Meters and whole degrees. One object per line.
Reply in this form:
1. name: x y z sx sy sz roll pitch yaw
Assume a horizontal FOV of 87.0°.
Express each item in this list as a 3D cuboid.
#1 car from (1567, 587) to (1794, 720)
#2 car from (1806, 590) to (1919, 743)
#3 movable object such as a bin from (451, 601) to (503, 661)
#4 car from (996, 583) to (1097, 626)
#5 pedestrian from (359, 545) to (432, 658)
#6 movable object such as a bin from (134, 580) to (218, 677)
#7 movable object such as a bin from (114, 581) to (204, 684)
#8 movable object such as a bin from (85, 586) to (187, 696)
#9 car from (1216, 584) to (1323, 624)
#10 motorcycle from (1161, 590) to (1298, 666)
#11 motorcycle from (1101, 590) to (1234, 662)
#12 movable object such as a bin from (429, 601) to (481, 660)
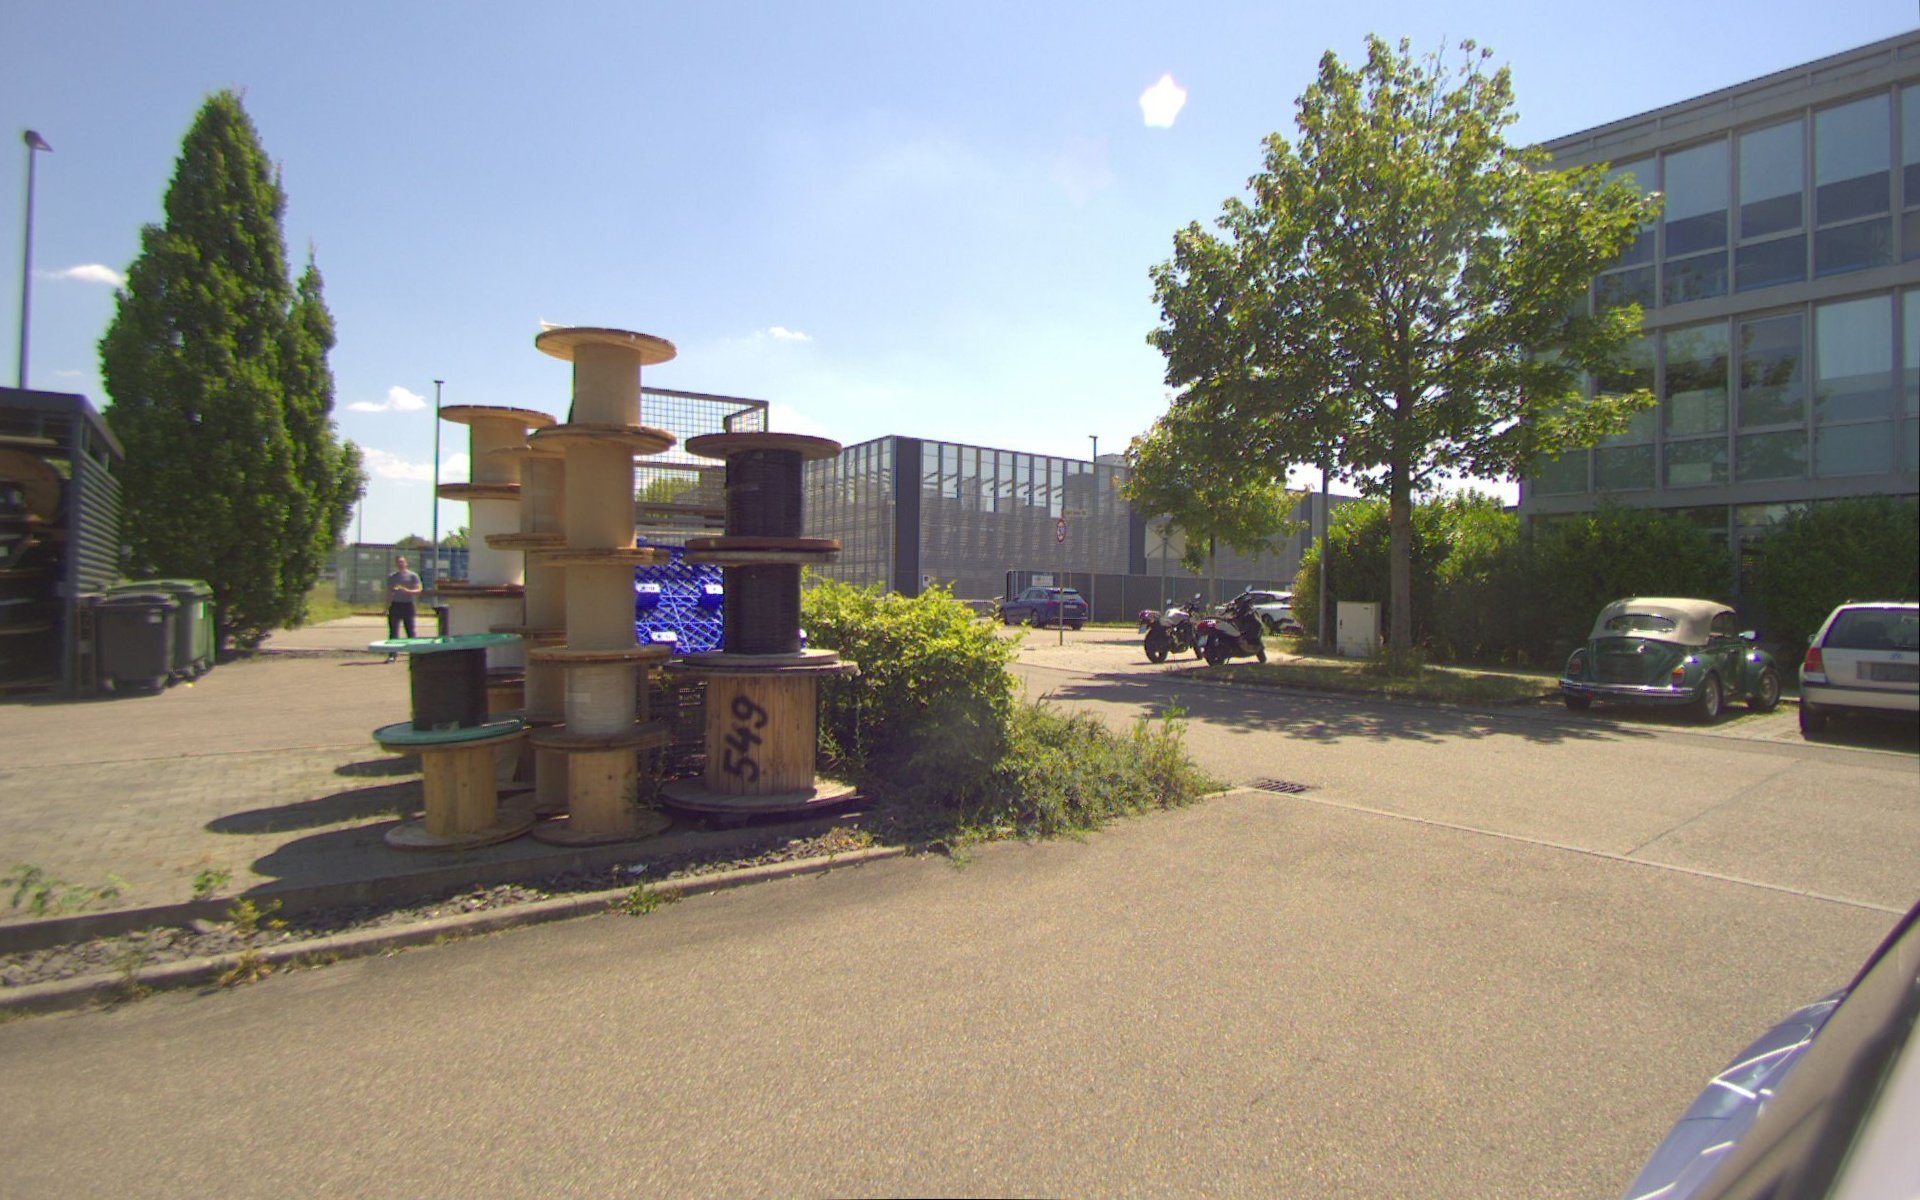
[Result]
1. car: 9.330 0.582 13.035 3.358 1.463 1.522 -1 2 -39
2. car: 10.793 0.660 11.269 3.539 1.470 1.640 -1 2 -43
3. movable object such as a bin: -7.847 0.490 16.453 0.581 0.929 0.542 1 1 30
4. car: 3.027 0.132 36.424 1.820 1.427 4.455 0 1 -22
5. pedestrian: -9.214 0.016 16.536 0.793 1.791 0.770 1 1 -5
6. movable object such as a bin: -10.989 0.375 14.217 0.785 1.314 0.811 0 1 -27
7. movable object such as a bin: -10.611 0.403 13.440 0.785 1.314 0.757 0 1 -27
8. movable object such as a bin: -9.995 0.472 12.313 0.785 1.265 0.878 0 1 -27
9. car: 12.086 0.118 39.851 1.743 1.494 4.424 0 1 -19
10. motorcycle: 4.933 0.471 18.411 2.783 1.275 0.874 -1 1 -37
11. motorcycle: 3.999 0.454 19.376 2.783 1.275 0.874 -1 1 -37
12. movable object such as a bin: -8.378 0.492 16.789 0.581 0.929 0.542 1 1 30
